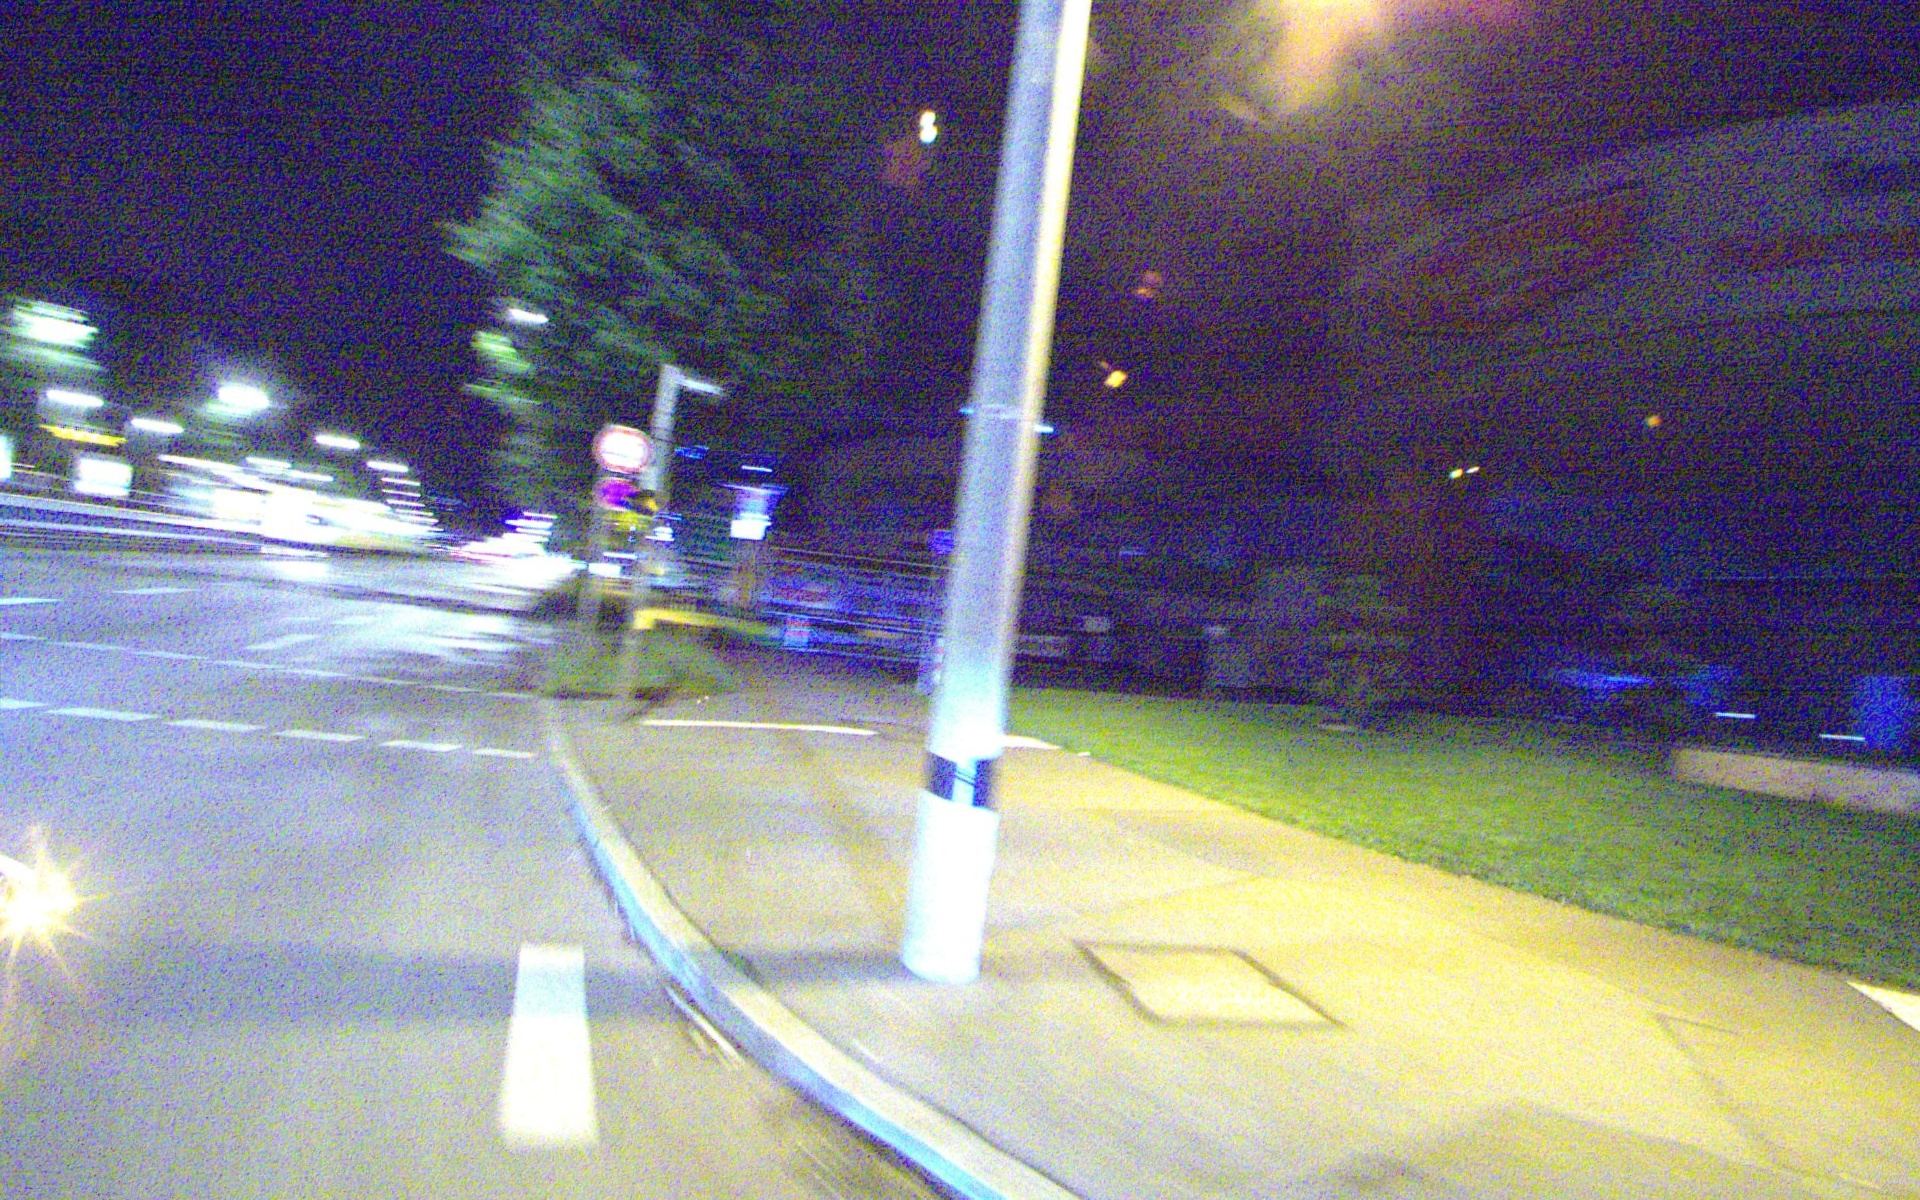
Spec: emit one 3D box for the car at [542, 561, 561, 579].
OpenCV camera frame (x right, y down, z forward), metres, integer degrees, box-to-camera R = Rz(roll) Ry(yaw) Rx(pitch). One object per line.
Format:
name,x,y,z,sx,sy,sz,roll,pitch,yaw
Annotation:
car,-49.697,-3.634,122.338,1.789,1.681,3.977,11,-1,-23

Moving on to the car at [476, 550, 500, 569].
car,-51.346,-4.378,109.475,1.840,1.678,4.440,10,-2,-21
